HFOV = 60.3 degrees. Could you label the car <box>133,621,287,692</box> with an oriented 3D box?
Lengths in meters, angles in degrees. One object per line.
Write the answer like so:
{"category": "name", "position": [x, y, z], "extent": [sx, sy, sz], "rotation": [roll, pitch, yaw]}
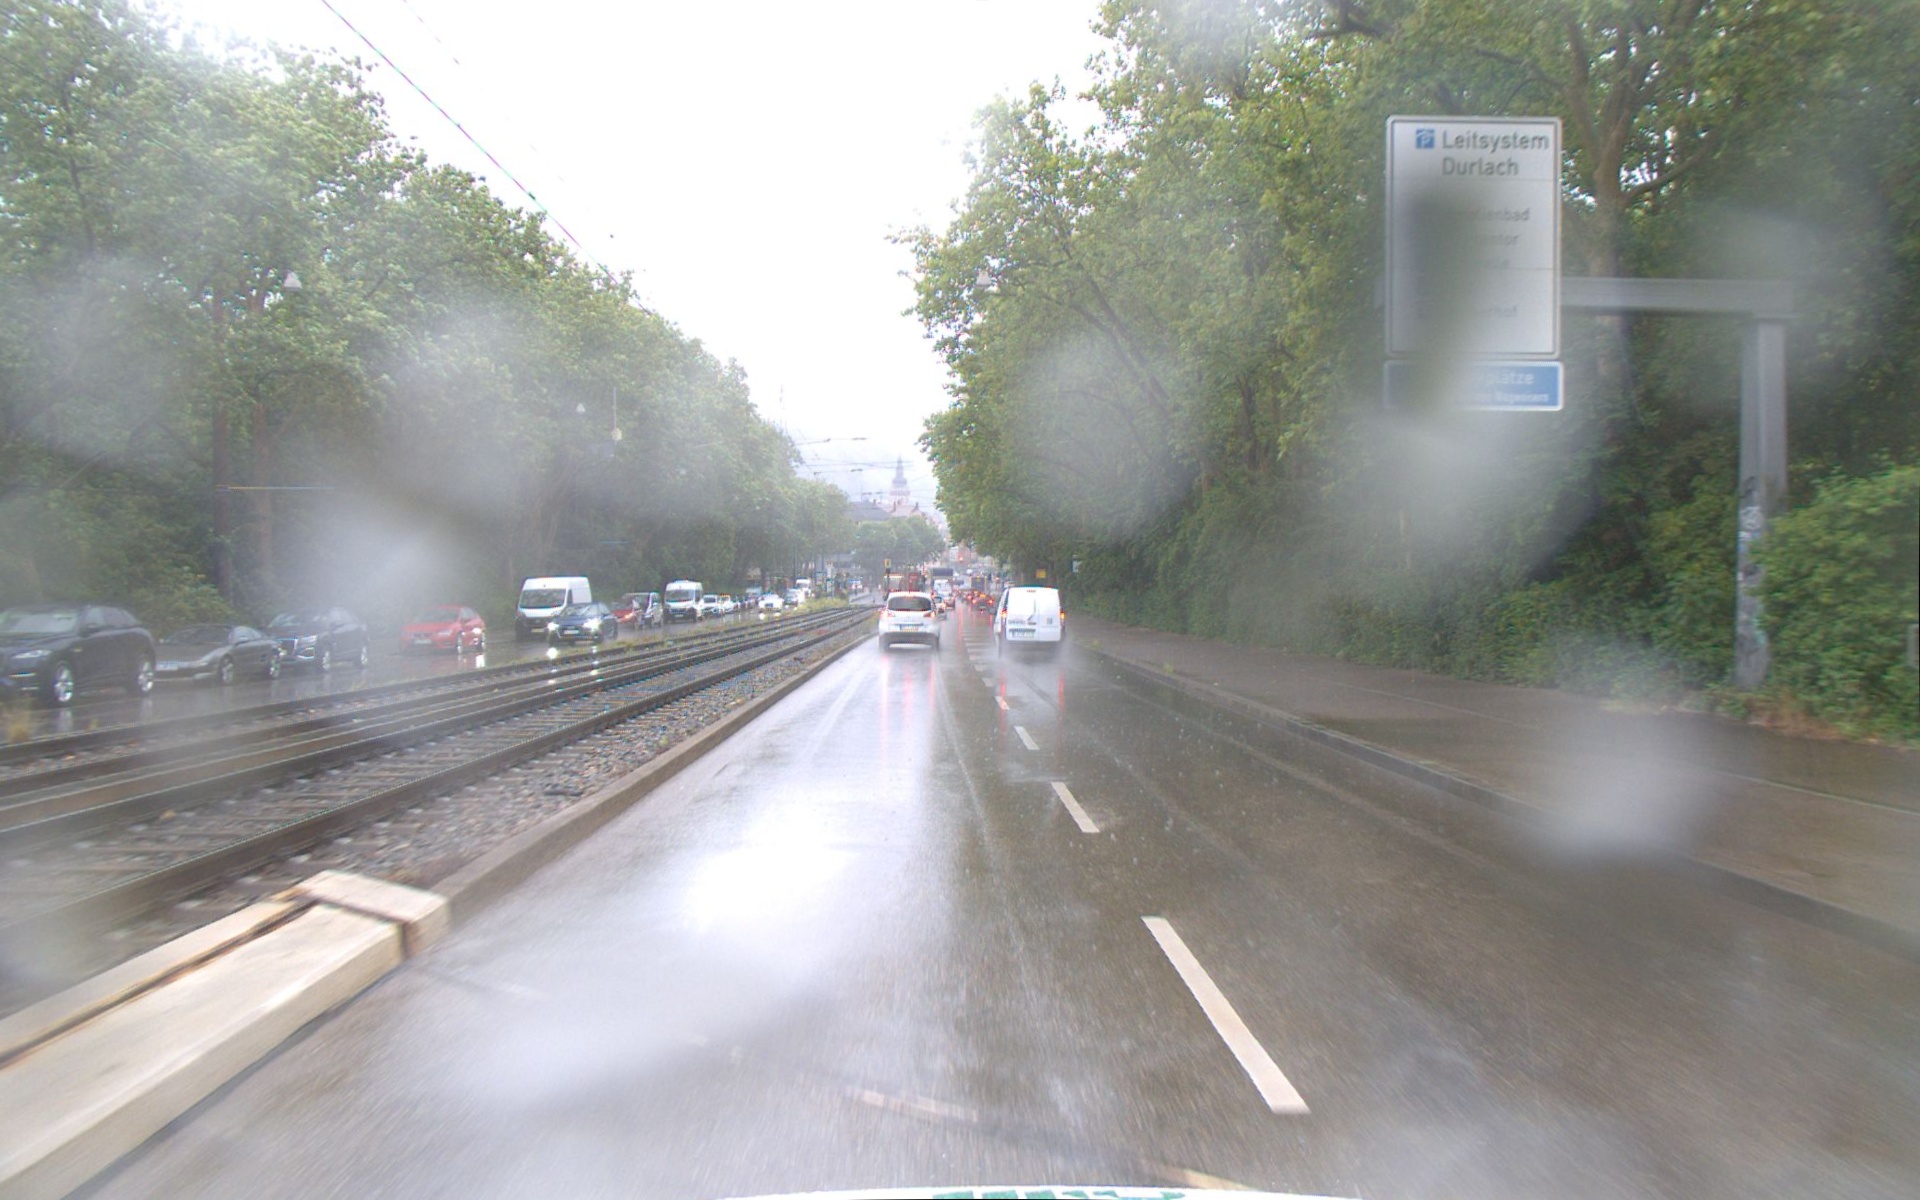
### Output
{"category": "car", "position": [-15.201, 1.113, 33.719], "extent": [1.475, 1.193, 3.712], "rotation": [-2, 1, -1]}

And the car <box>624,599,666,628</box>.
{"category": "car", "position": [-16.718, 0.710, 87.779], "extent": [1.475, 1.373, 4.026], "rotation": [-2, 1, -1]}

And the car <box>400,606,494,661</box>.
{"category": "car", "position": [-15.653, 0.993, 50.680], "extent": [1.577, 1.467, 4.261], "rotation": [-2, 1, -1]}

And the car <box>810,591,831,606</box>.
{"category": "car", "position": [-13.773, -0.168, 163.856], "extent": [1.768, 1.373, 4.263], "rotation": [-2, 1, -2]}

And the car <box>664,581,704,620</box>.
{"category": "car", "position": [-17.081, -0.018, 102.478], "extent": [1.764, 2.260, 4.276], "rotation": [-2, 1, -1]}

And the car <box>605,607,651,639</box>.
{"category": "car", "position": [-16.408, 1.138, 81.953], "extent": [1.475, 1.373, 4.026], "rotation": [-2, 1, -1]}

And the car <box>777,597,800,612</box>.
{"category": "car", "position": [-16.661, 0.423, 160.661], "extent": [1.768, 1.373, 4.263], "rotation": [-2, 1, -1]}

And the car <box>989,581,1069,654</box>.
{"category": "car", "position": [1.752, 0.412, 43.060], "extent": [1.952, 1.756, 4.001], "rotation": [1, 1, 1]}

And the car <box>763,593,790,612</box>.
{"category": "car", "position": [-14.806, 0.200, 133.586], "extent": [1.768, 1.373, 4.263], "rotation": [-2, 1, -1]}

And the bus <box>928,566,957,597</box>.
{"category": "bus", "position": [-2.185, -2.409, 211.160], "extent": [3.320, 3.903, 9.740], "rotation": [1, 1, 1]}

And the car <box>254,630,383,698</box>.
{"category": "car", "position": [-15.215, 1.481, 39.441], "extent": [1.475, 1.315, 4.095], "rotation": [-2, 1, -1]}

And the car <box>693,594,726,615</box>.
{"category": "car", "position": [-17.971, 0.294, 118.668], "extent": [1.768, 1.373, 4.263], "rotation": [-2, 1, -1]}

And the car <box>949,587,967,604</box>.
{"category": "car", "position": [-0.211, -0.535, 190.056], "extent": [1.952, 1.858, 4.001], "rotation": [1, 1, 1]}

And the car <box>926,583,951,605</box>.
{"category": "car", "position": [-1.858, -0.545, 144.190], "extent": [1.952, 1.858, 4.001], "rotation": [1, 1, 1]}

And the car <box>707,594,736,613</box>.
{"category": "car", "position": [-19.637, 0.277, 136.417], "extent": [1.768, 1.373, 4.263], "rotation": [-2, 1, -1]}

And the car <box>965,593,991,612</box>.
{"category": "car", "position": [1.433, 0.175, 128.014], "extent": [1.952, 1.344, 4.001], "rotation": [1, 1, 1]}

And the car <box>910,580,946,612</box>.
{"category": "car", "position": [-1.919, -0.256, 100.272], "extent": [1.952, 1.858, 4.001], "rotation": [1, 1, 1]}

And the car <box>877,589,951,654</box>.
{"category": "car", "position": [-1.311, 0.595, 48.648], "extent": [1.952, 1.746, 4.001], "rotation": [1, 1, 1]}

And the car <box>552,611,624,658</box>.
{"category": "car", "position": [-13.046, 1.177, 58.239], "extent": [1.475, 1.425, 4.707], "rotation": [-2, 1, 0]}

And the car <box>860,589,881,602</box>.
{"category": "car", "position": [-9.949, -0.516, 183.474], "extent": [1.767, 1.373, 4.266], "rotation": [-2, 1, 4]}

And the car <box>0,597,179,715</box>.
{"category": "car", "position": [-14.921, 0.865, 27.710], "extent": [1.476, 1.701, 4.832], "rotation": [-2, 1, -2]}

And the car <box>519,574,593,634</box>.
{"category": "car", "position": [-16.071, 0.096, 66.070], "extent": [1.706, 2.207, 5.812], "rotation": [-2, 1, -2]}
